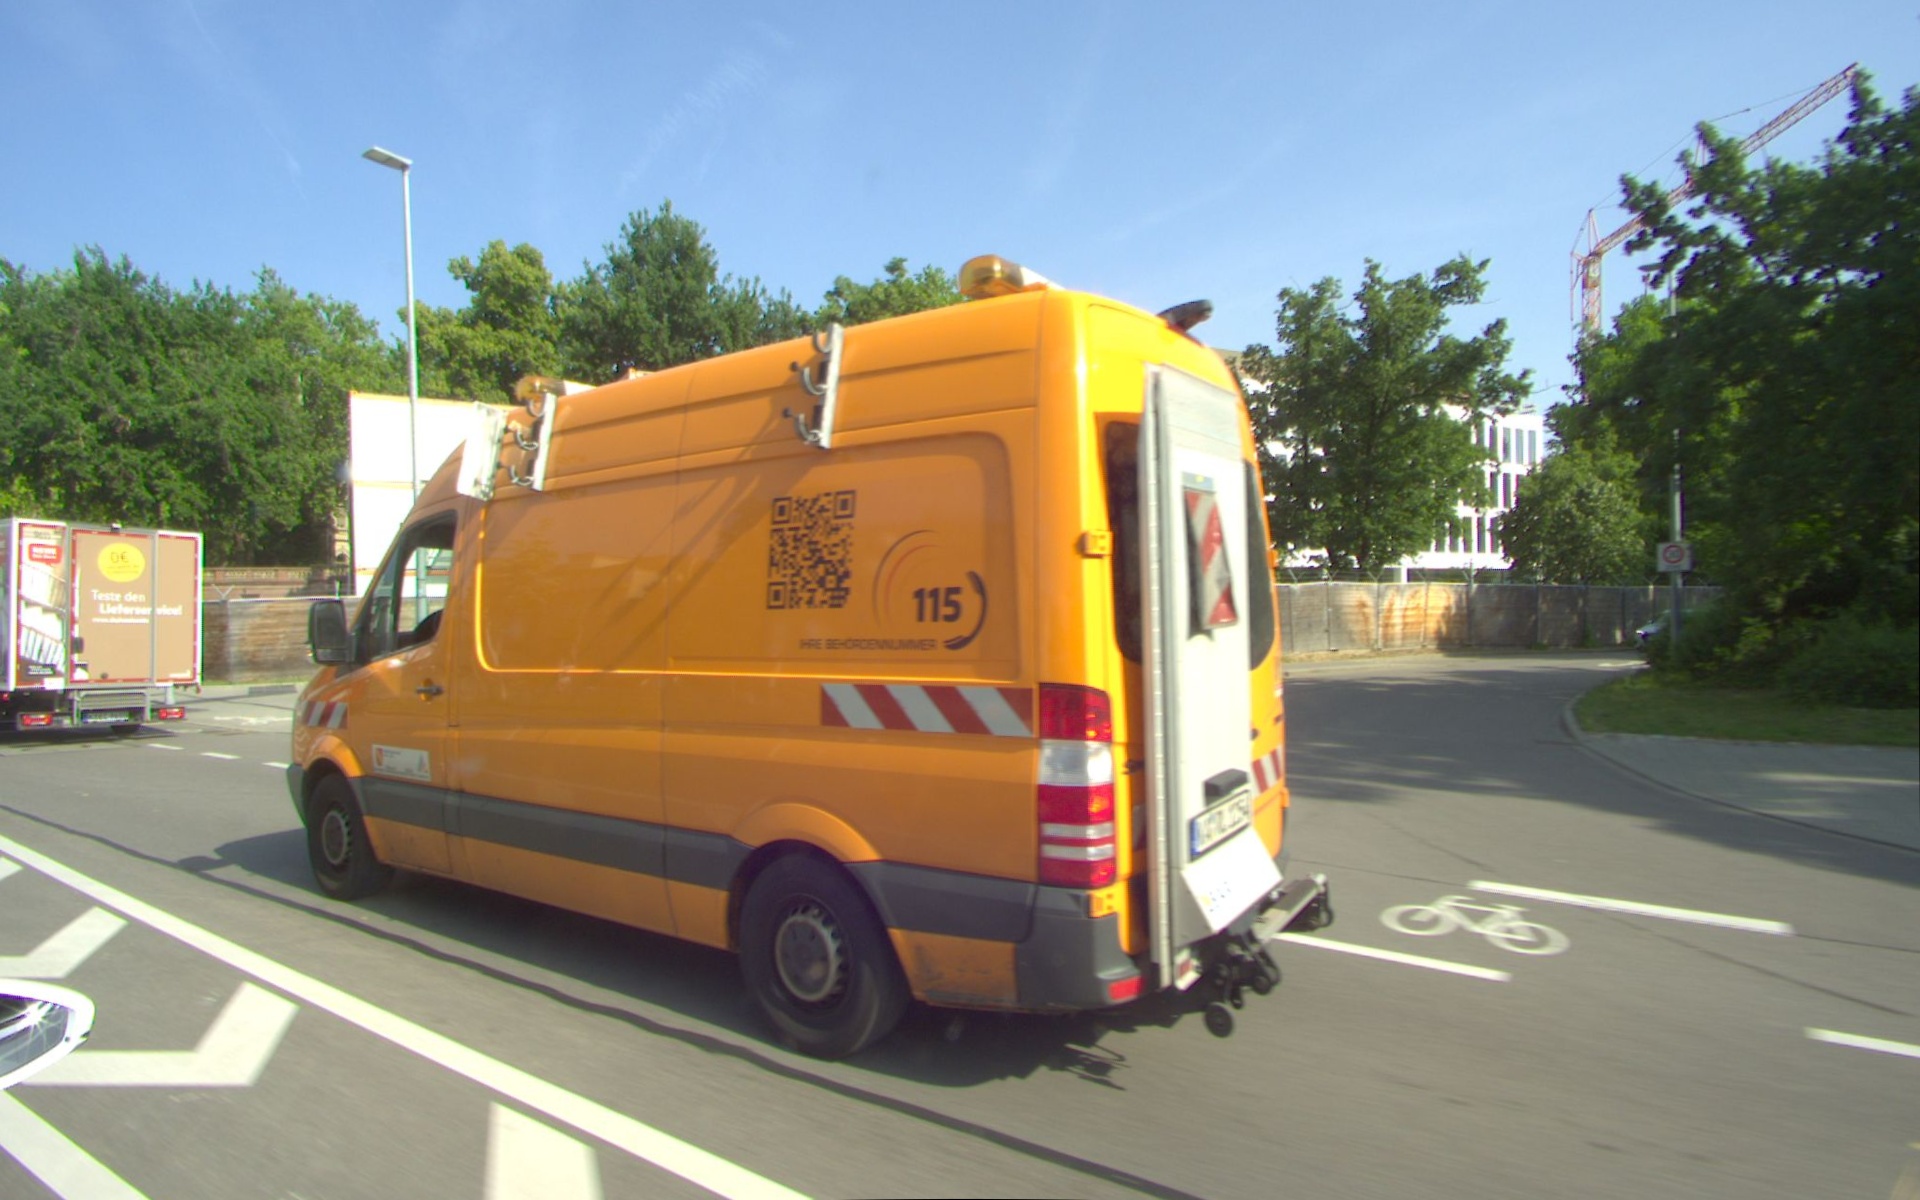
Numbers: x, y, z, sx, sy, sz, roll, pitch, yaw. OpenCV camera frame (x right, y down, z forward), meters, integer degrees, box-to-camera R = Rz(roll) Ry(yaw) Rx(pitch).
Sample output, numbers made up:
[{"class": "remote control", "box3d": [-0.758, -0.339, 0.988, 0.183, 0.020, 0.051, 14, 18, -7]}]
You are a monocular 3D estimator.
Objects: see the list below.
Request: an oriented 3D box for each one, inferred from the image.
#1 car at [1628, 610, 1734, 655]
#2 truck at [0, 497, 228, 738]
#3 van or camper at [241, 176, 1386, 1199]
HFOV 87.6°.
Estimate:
[{"class": "car", "box3d": [24.790, 1.075, 34.402, 3.869, 1.416, 1.750, 0, -1, -34]}, {"class": "truck", "box3d": [-15.025, 0.374, 15.884, 7.702, 3.099, 2.501, -2, -3, 29]}, {"class": "van or camper", "box3d": [-1.262, 0.270, 5.006, 5.981, 2.504, 1.980, -1, -1, 36]}]
